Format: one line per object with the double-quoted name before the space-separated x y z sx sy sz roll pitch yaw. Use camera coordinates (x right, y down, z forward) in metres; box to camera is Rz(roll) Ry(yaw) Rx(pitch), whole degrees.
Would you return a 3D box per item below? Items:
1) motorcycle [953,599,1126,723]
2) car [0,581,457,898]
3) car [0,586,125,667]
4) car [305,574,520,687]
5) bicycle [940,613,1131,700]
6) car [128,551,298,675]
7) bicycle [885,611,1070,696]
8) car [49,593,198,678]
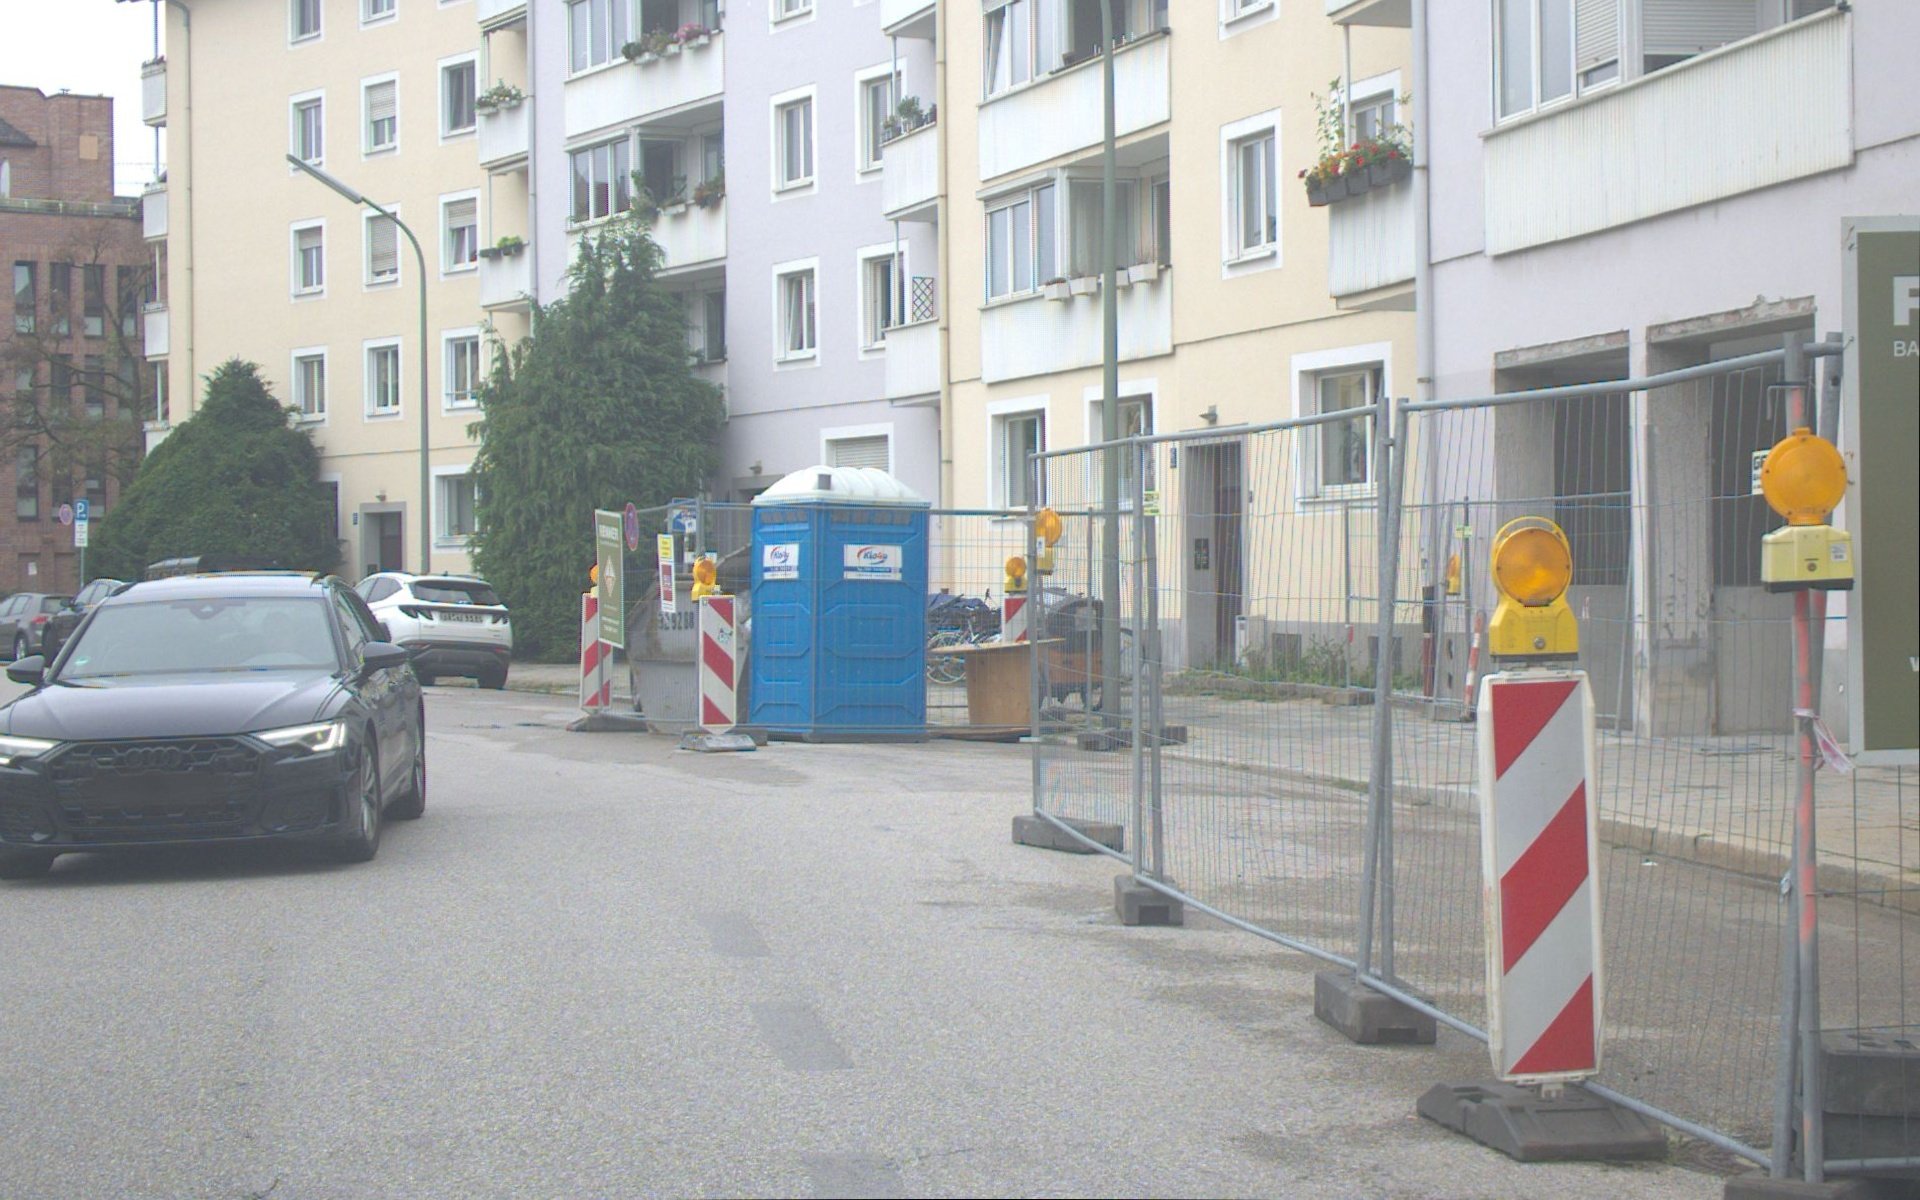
"motorcycle" 0.795 0.601 35.426 0.931 1.217 2.508 0 0 -20
"car" -3.915 0.650 18.510 1.920 1.407 4.704 -3 0 -3
"car" -17.580 0.502 66.687 1.781 1.505 3.720 -1 0 -28
"car" -7.958 0.412 49.700 1.830 1.568 4.000 0 0 -29
"bicycle" 0.956 0.704 43.458 2.232 1.066 0.920 0 0 -20
"car" -12.643 0.209 58.033 1.781 1.970 3.720 -2 1 -28
"bicycle" 0.220 0.685 44.818 2.232 1.066 0.920 0 0 -20
"car" -15.314 0.629 62.815 1.781 1.505 3.720 0 0 -28
